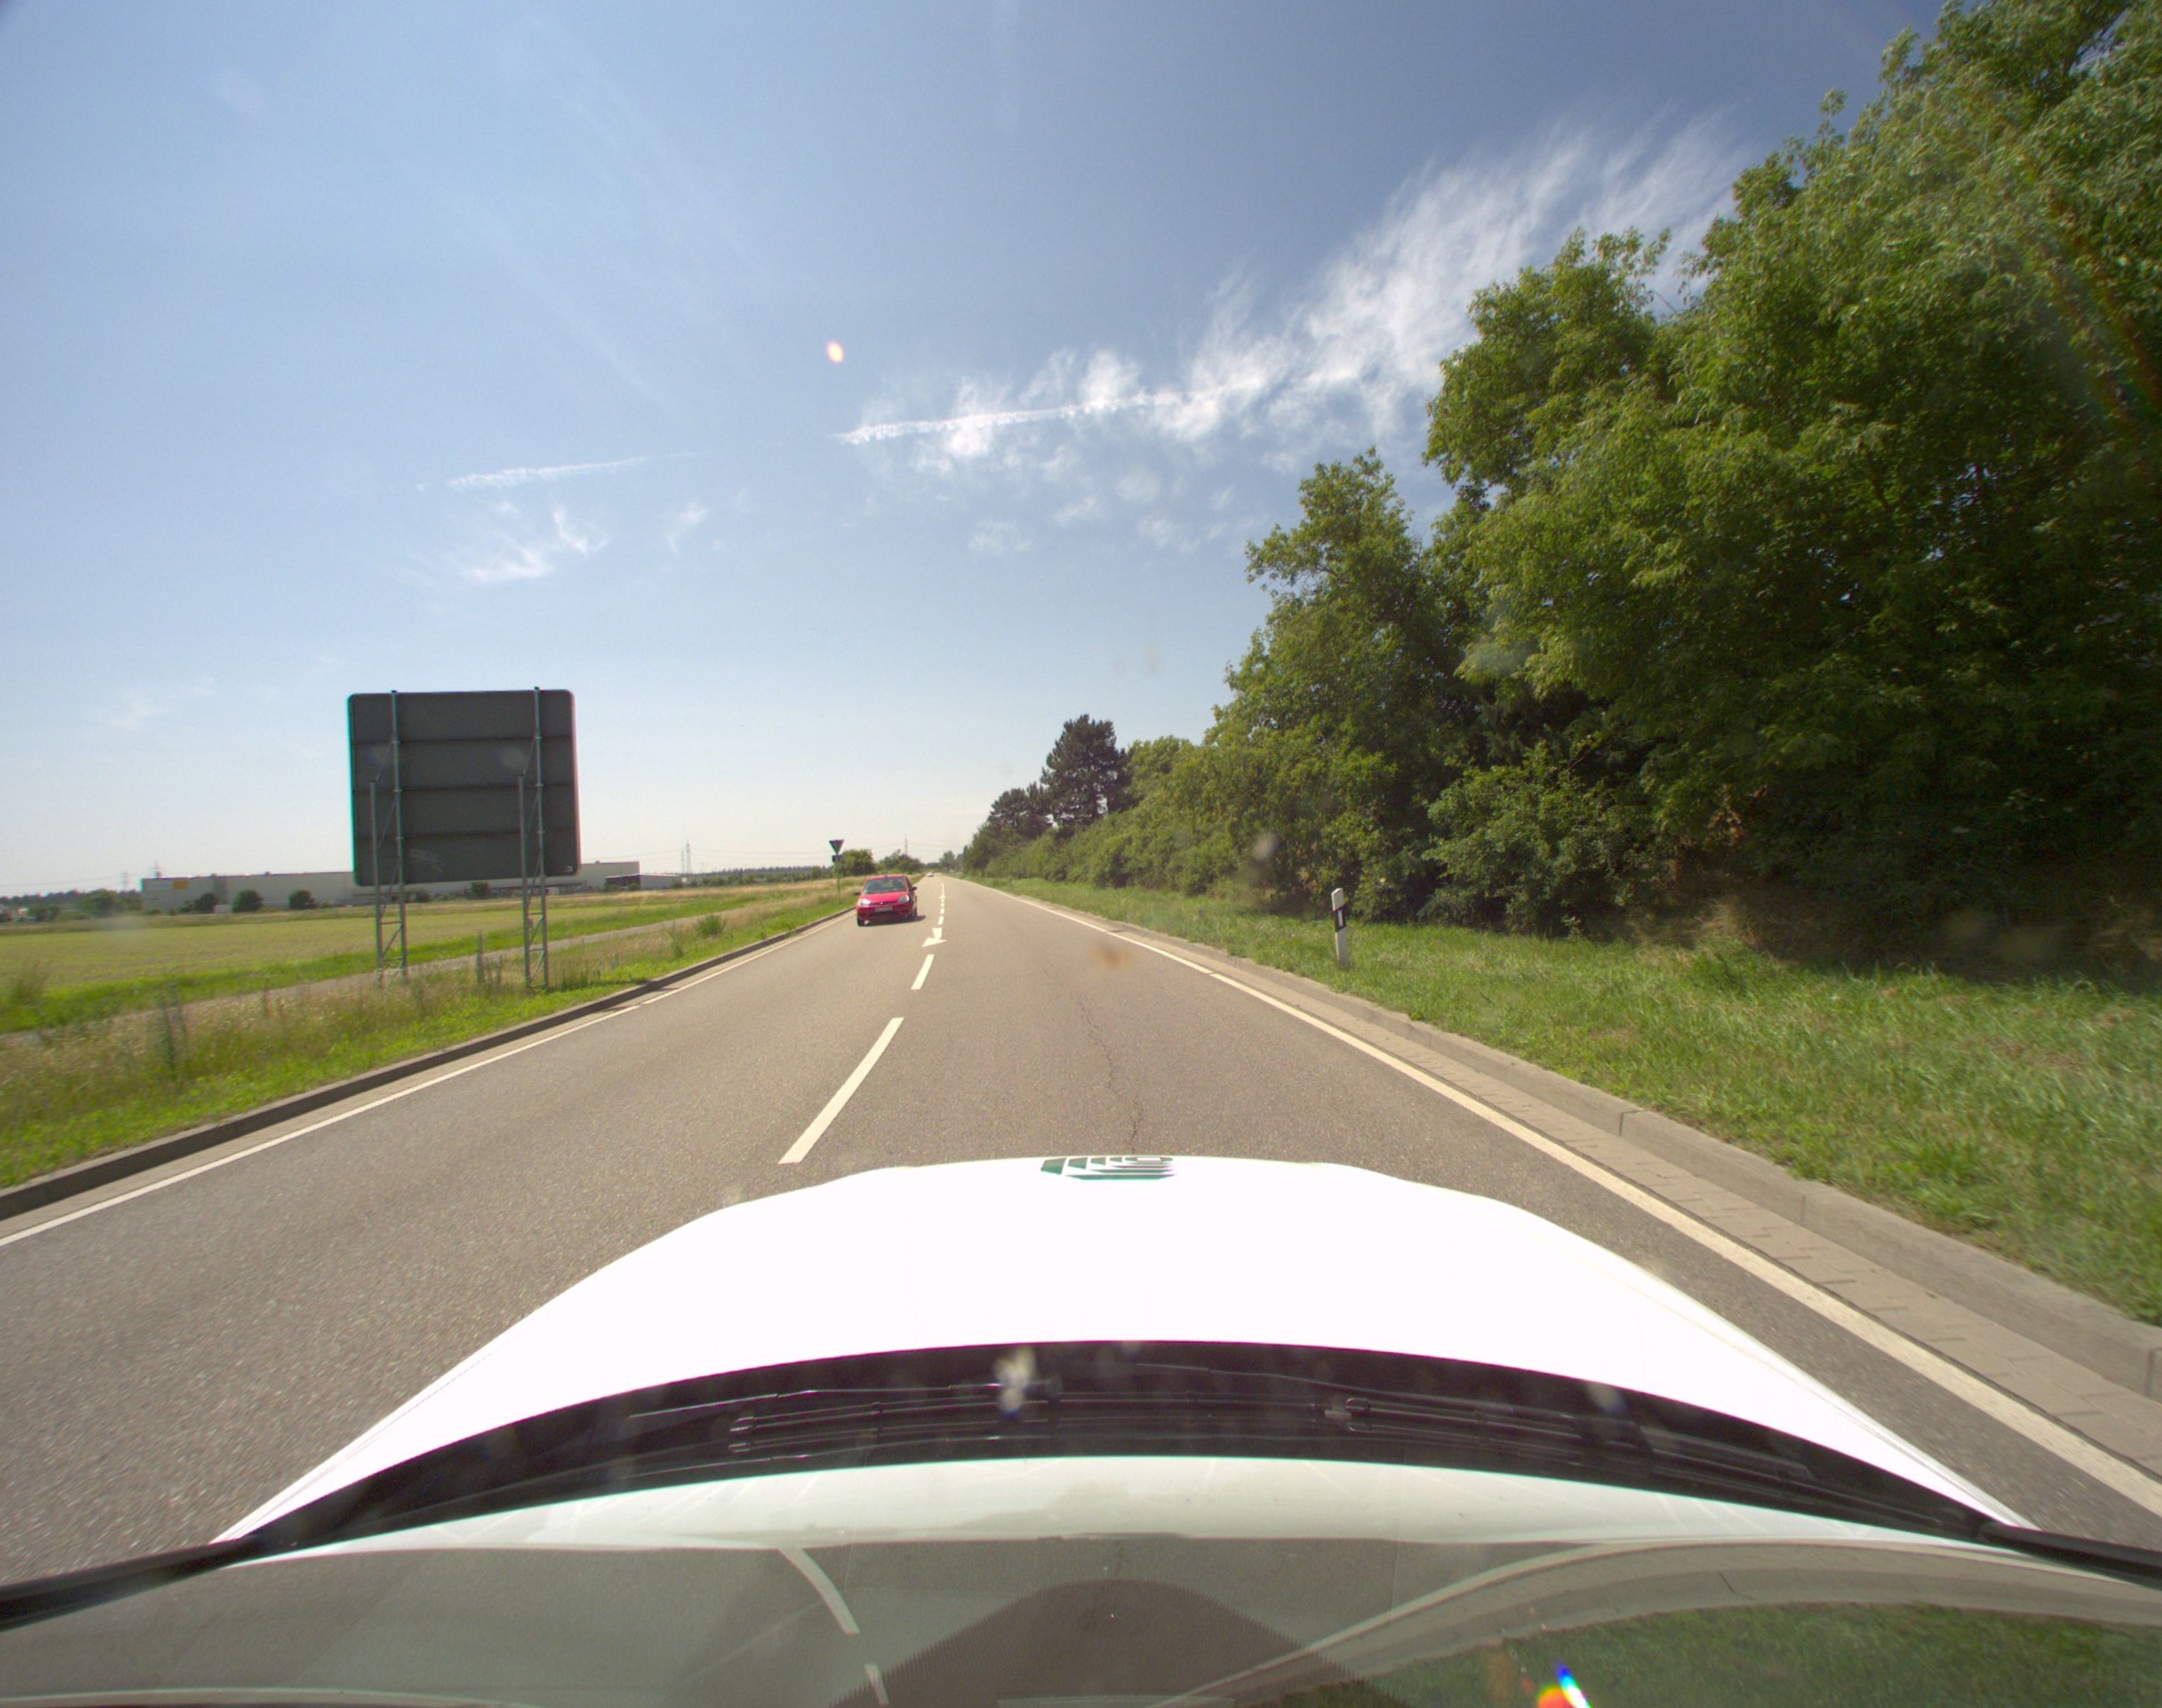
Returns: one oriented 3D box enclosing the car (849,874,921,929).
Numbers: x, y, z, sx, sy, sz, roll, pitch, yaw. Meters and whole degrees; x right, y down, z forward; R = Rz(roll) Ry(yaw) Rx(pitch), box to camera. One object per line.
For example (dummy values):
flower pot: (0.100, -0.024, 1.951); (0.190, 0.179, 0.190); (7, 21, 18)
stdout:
car: (-6.003, 1.405, 25.343); (1.654, 1.433, 3.727); (-4, -1, -7)
